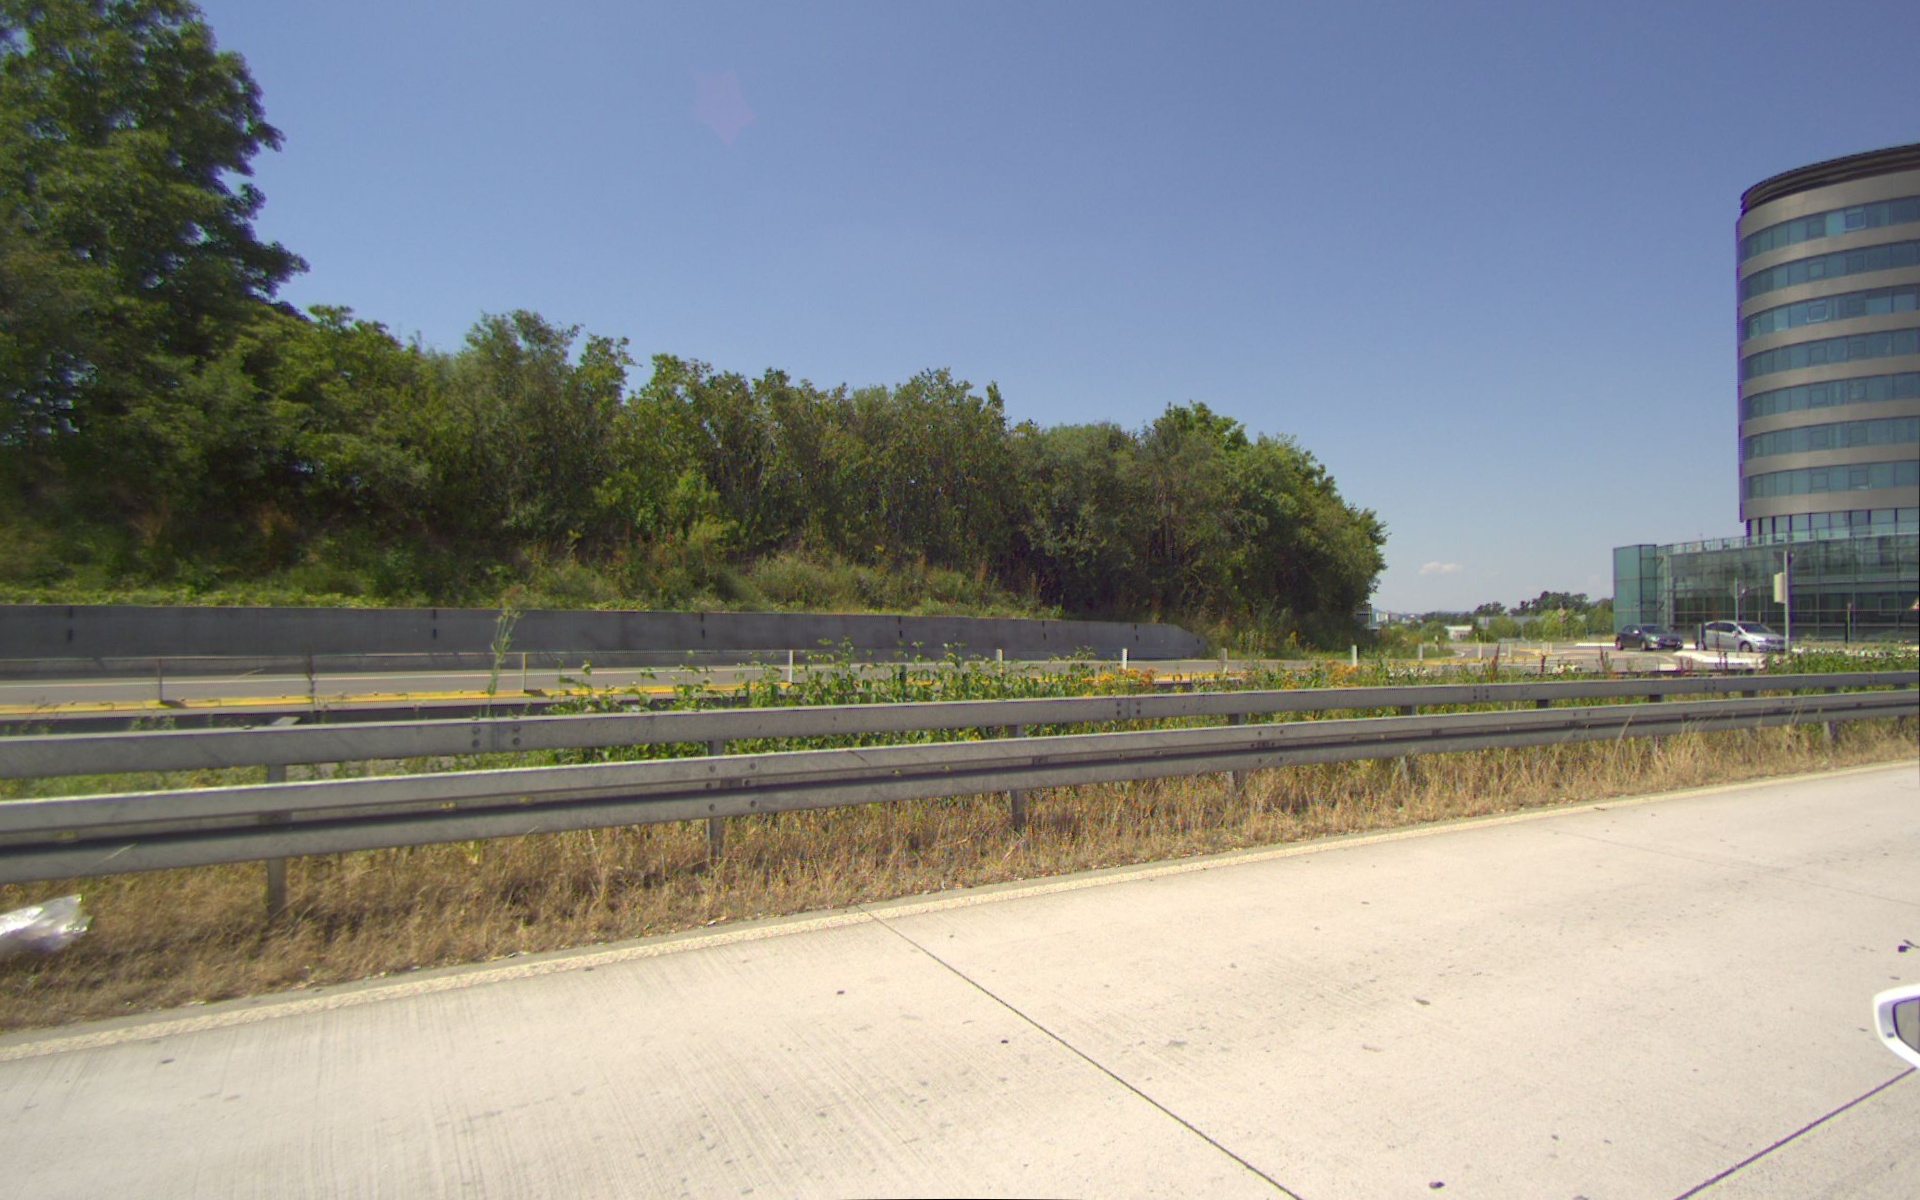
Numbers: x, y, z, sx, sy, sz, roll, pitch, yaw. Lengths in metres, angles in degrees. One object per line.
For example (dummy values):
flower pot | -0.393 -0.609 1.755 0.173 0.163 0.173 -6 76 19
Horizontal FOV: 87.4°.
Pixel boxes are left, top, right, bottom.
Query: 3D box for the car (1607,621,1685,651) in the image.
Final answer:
car | 37.214 1.970 54.606 1.663 1.475 4.333 2 -2 6

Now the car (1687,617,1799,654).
car | 36.495 1.665 46.967 1.742 1.616 4.329 2 -2 -2
